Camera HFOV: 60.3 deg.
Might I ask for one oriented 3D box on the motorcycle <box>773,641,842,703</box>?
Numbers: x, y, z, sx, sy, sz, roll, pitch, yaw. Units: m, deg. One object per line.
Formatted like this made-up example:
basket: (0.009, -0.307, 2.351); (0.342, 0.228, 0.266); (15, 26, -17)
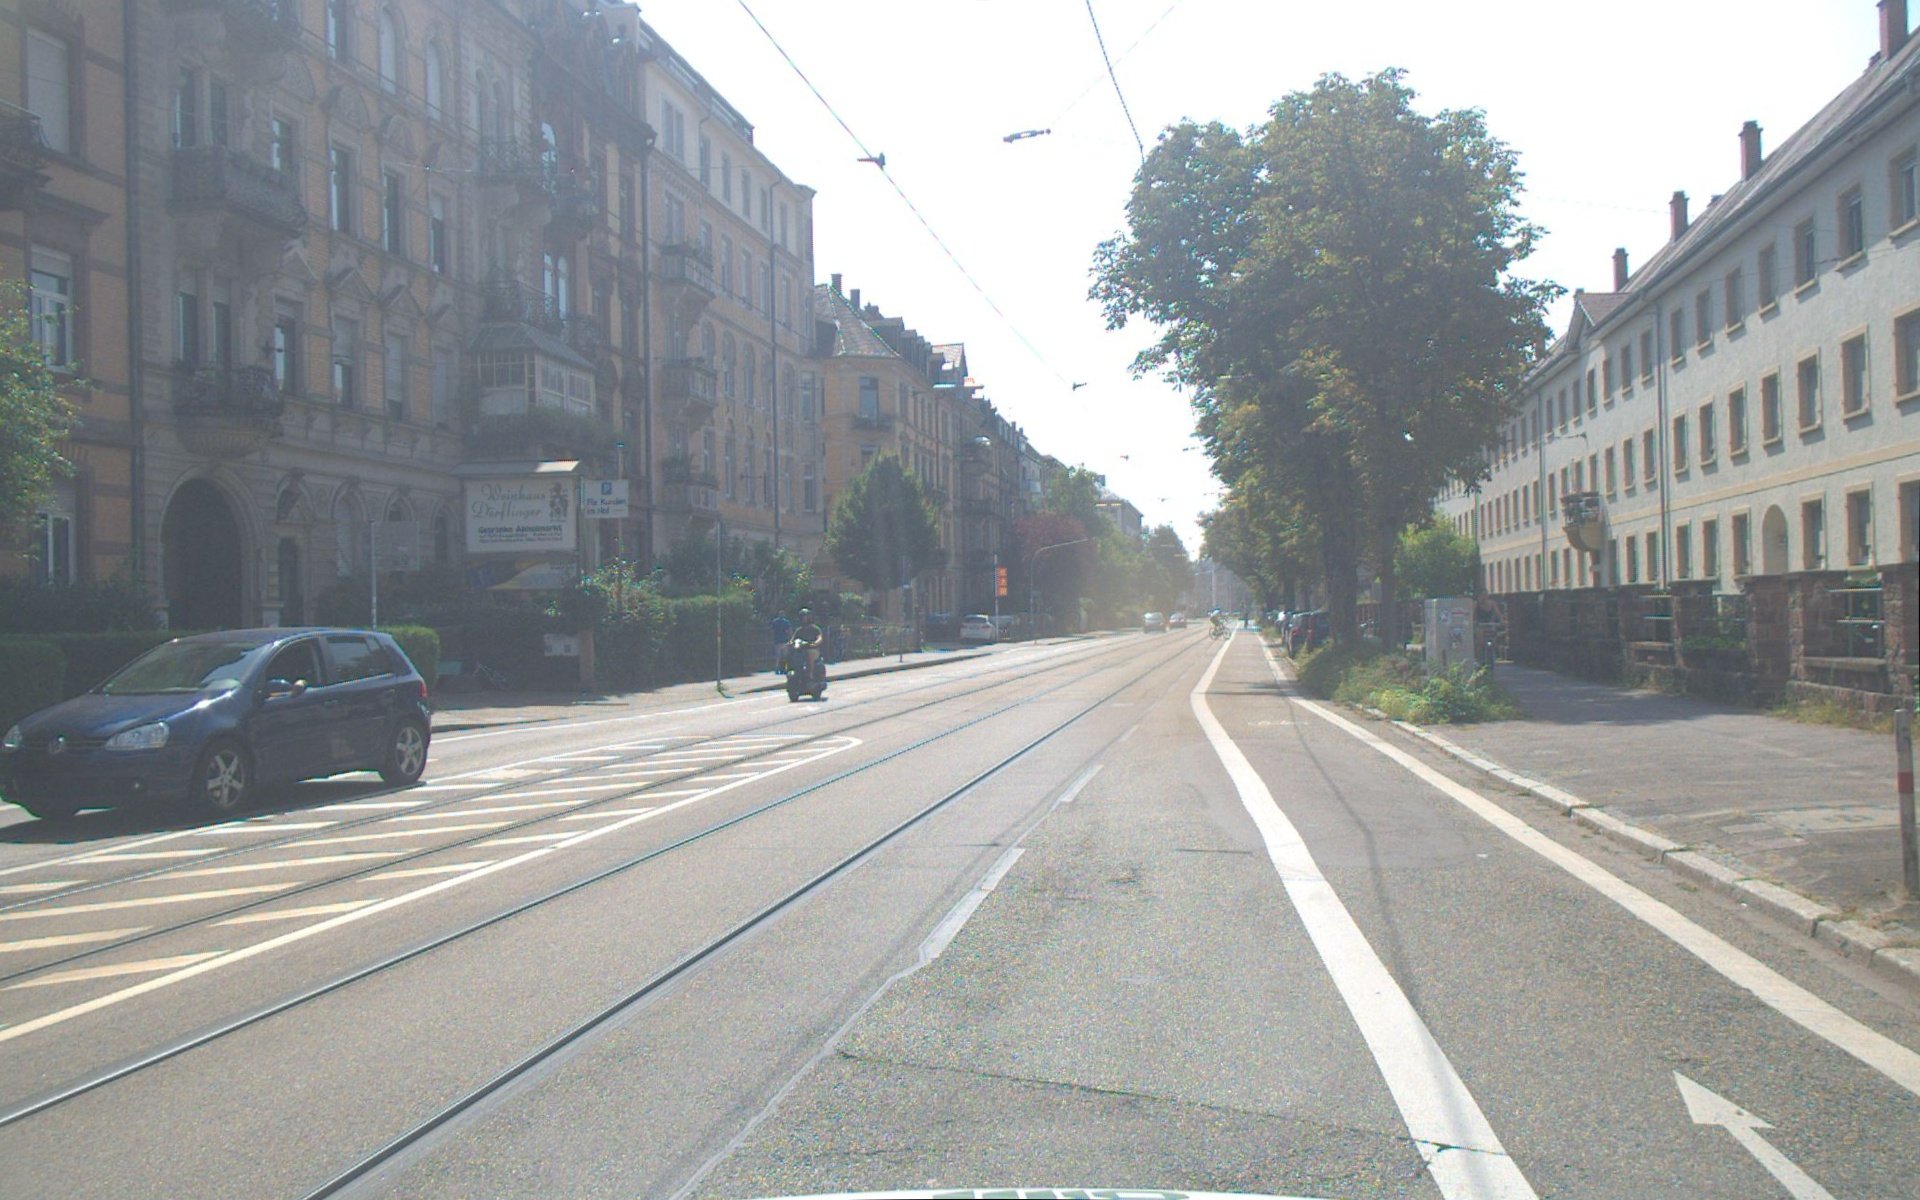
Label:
motorcycle: (-2.821, 1.322, 30.763); (0.676, 1.049, 2.159); (-2, -1, 11)

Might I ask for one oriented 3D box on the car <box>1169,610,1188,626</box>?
car: (22.237, 1.832, 168.373); (1.695, 1.516, 4.003); (-2, -1, 9)

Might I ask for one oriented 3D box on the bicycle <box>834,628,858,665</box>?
bicycle: (-3.724, 1.499, 54.174); (0.381, 1.168, 1.583); (-1, -1, 11)

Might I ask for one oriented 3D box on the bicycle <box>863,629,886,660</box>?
bicycle: (-3.101, 1.605, 59.872); (0.381, 1.056, 1.835); (-1, -1, 11)

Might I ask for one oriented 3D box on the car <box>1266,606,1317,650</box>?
car: (12.886, 1.079, 64.461); (1.718, 1.503, 4.461); (-5, -2, 10)

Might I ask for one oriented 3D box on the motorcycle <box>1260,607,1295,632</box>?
motorcycle: (22.236, 1.384, 115.836); (0.959, 1.567, 2.314); (0, -4, -38)

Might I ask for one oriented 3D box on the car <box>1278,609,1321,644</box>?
car: (15.368, 1.199, 75.020); (1.718, 1.503, 4.390); (-2, -1, 9)

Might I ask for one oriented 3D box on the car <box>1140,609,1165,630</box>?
car: (15.536, 1.555, 133.474); (1.788, 1.567, 4.003); (-2, -1, 9)

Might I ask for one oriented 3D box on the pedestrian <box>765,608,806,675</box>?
pedestrian: (-4.728, 1.119, 44.828); (0.864, 1.787, 0.871); (-2, -1, 10)

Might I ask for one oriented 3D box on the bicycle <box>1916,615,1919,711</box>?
bicycle: (10.740, 0.683, 17.433); (0.431, 1.065, 1.830); (-2, -1, 7)

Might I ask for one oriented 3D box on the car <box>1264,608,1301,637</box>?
car: (18.015, 1.243, 92.568); (1.852, 1.503, 4.844); (-2, -1, 10)

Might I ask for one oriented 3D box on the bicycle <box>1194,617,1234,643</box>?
bicycle: (13.754, 1.626, 89.525); (1.127, 1.291, 2.704); (-2, -1, 33)

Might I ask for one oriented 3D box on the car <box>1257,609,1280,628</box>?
car: (27.045, 1.618, 144.933); (1.801, 1.559, 4.783); (-3, -1, 9)

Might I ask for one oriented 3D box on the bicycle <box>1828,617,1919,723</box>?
bicycle: (9.928, 0.720, 17.737); (0.431, 1.065, 1.830); (-2, -1, 7)

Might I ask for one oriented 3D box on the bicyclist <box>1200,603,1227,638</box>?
bicyclist: (13.708, 1.101, 89.510); (1.105, 1.869, 0.953); (-2, -2, 33)

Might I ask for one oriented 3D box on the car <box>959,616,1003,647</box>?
car: (1.205, 1.733, 92.545); (1.951, 1.622, 4.362); (-2, -1, 6)

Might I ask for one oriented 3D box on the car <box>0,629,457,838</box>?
car: (-6.223, 1.033, 14.301); (1.690, 1.459, 4.180); (-2, -1, 13)

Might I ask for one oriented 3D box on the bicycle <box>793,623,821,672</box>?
bicycle: (-4.579, 1.419, 49.554); (0.381, 1.430, 1.583); (-1, -1, 11)

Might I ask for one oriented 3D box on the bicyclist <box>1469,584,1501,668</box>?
bicyclist: (9.708, 0.482, 30.576); (0.428, 1.538, 0.472); (-2, -1, 7)

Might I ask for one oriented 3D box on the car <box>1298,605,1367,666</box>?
car: (10.441, 0.965, 46.211); (1.583, 1.557, 3.501); (-3, -1, 16)

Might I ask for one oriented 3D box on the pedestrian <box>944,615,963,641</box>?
pedestrian: (-0.389, 1.666, 99.743); (0.871, 1.537, 0.864); (-1, -1, -21)

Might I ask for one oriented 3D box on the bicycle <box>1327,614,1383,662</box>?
bicycle: (9.622, 0.919, 40.319); (1.371, 1.128, 0.386); (-1, -1, -26)

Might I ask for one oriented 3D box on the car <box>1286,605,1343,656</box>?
car: (11.531, 0.977, 53.945); (1.582, 1.503, 4.042); (-3, -1, 10)

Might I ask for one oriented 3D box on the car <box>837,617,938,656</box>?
car: (-3.126, 1.573, 71.452); (4.014, 1.622, 1.880); (-1, -1, 12)

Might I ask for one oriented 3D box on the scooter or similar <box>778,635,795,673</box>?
scooter or similar: (-4.636, 1.437, 44.240); (0.391, 1.000, 0.584); (0, -1, 2)

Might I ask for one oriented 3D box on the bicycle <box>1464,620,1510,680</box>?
bicycle: (9.715, 0.906, 30.529); (0.431, 1.065, 1.830); (-2, -1, 7)

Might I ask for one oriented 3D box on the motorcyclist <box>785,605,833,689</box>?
motorcyclist: (-2.811, 0.867, 30.829); (0.674, 1.538, 0.773); (-2, -1, 11)
